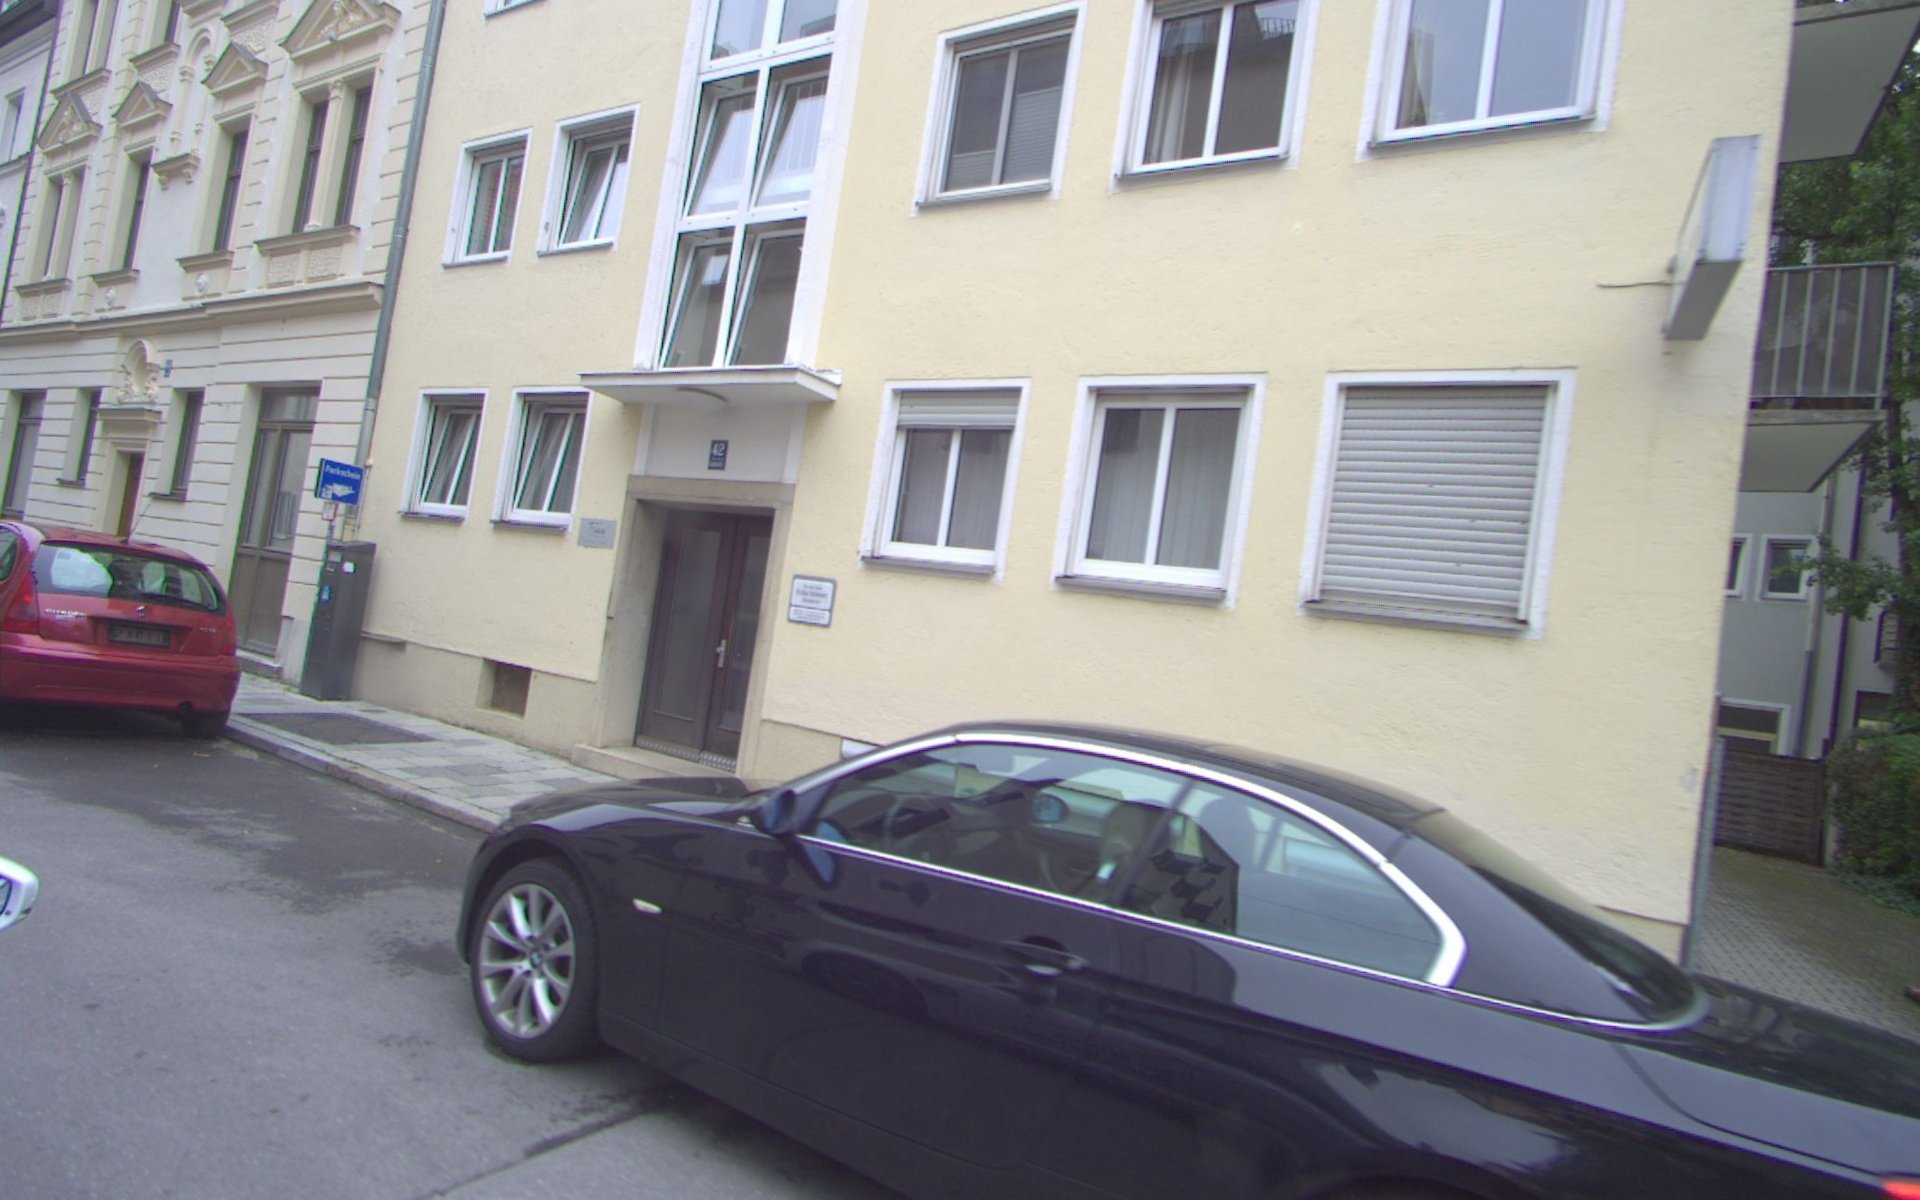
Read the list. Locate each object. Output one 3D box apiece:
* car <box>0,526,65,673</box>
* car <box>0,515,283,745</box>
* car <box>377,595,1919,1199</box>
[{"bbox_3d":[-11.466,-0.258,10.711,3.998,1.408,1.681,7,-3,32],"label":"car"},{"bbox_3d":[-7.613,0.121,8.407,3.789,1.508,1.681,7,-3,32],"label":"car"},{"bbox_3d":[0.402,1.039,3.200,4.433,1.347,1.834,7,-7,31],"label":"car"}]
